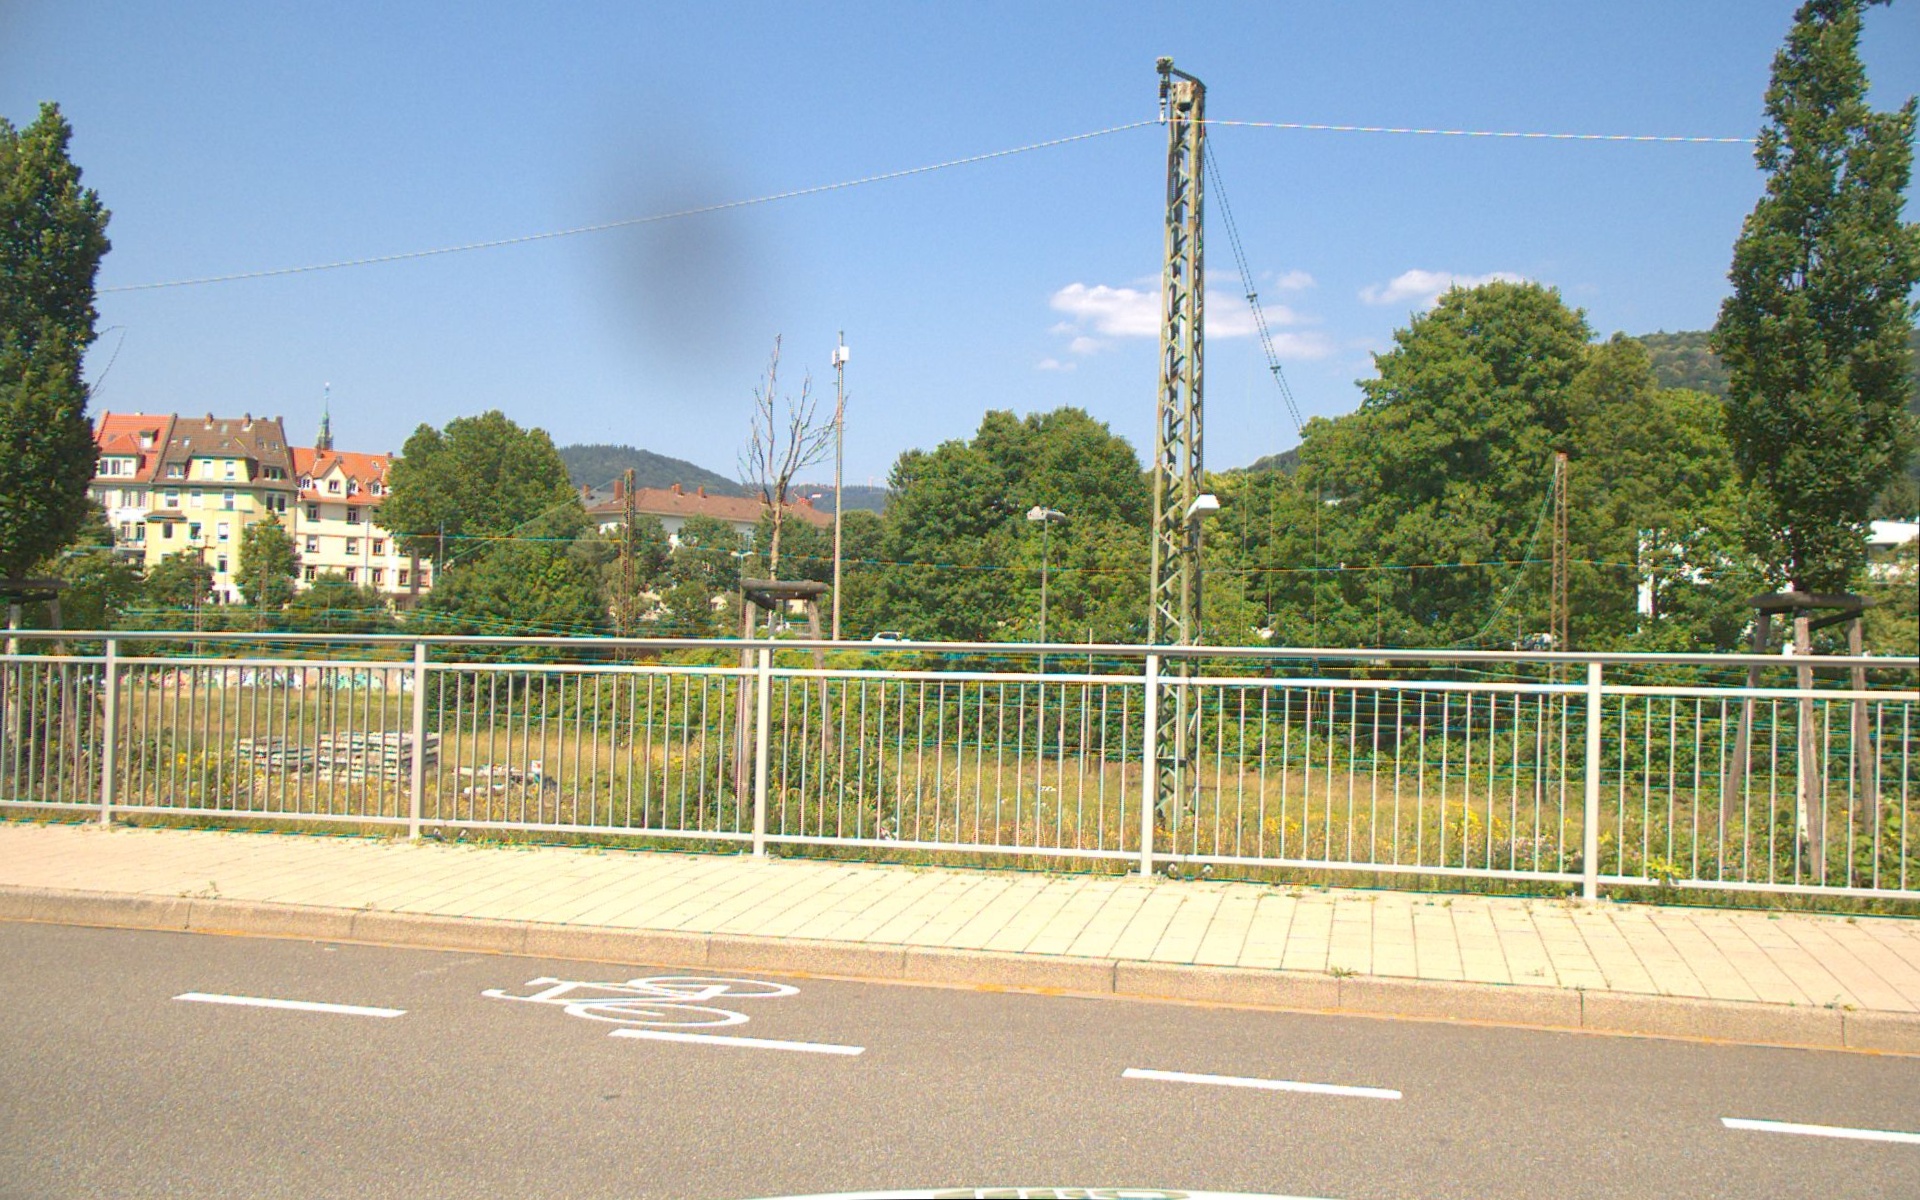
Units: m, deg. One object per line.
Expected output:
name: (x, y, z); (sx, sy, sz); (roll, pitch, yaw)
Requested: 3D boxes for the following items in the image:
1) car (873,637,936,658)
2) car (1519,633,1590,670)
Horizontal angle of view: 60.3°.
car: (-3.745, 3.174, 111.312); (4.242, 1.391, 1.853); (-1, -2, 44)
car: (36.515, 3.183, 101.643); (3.850, 2.049, 1.750); (-2, -6, 32)
